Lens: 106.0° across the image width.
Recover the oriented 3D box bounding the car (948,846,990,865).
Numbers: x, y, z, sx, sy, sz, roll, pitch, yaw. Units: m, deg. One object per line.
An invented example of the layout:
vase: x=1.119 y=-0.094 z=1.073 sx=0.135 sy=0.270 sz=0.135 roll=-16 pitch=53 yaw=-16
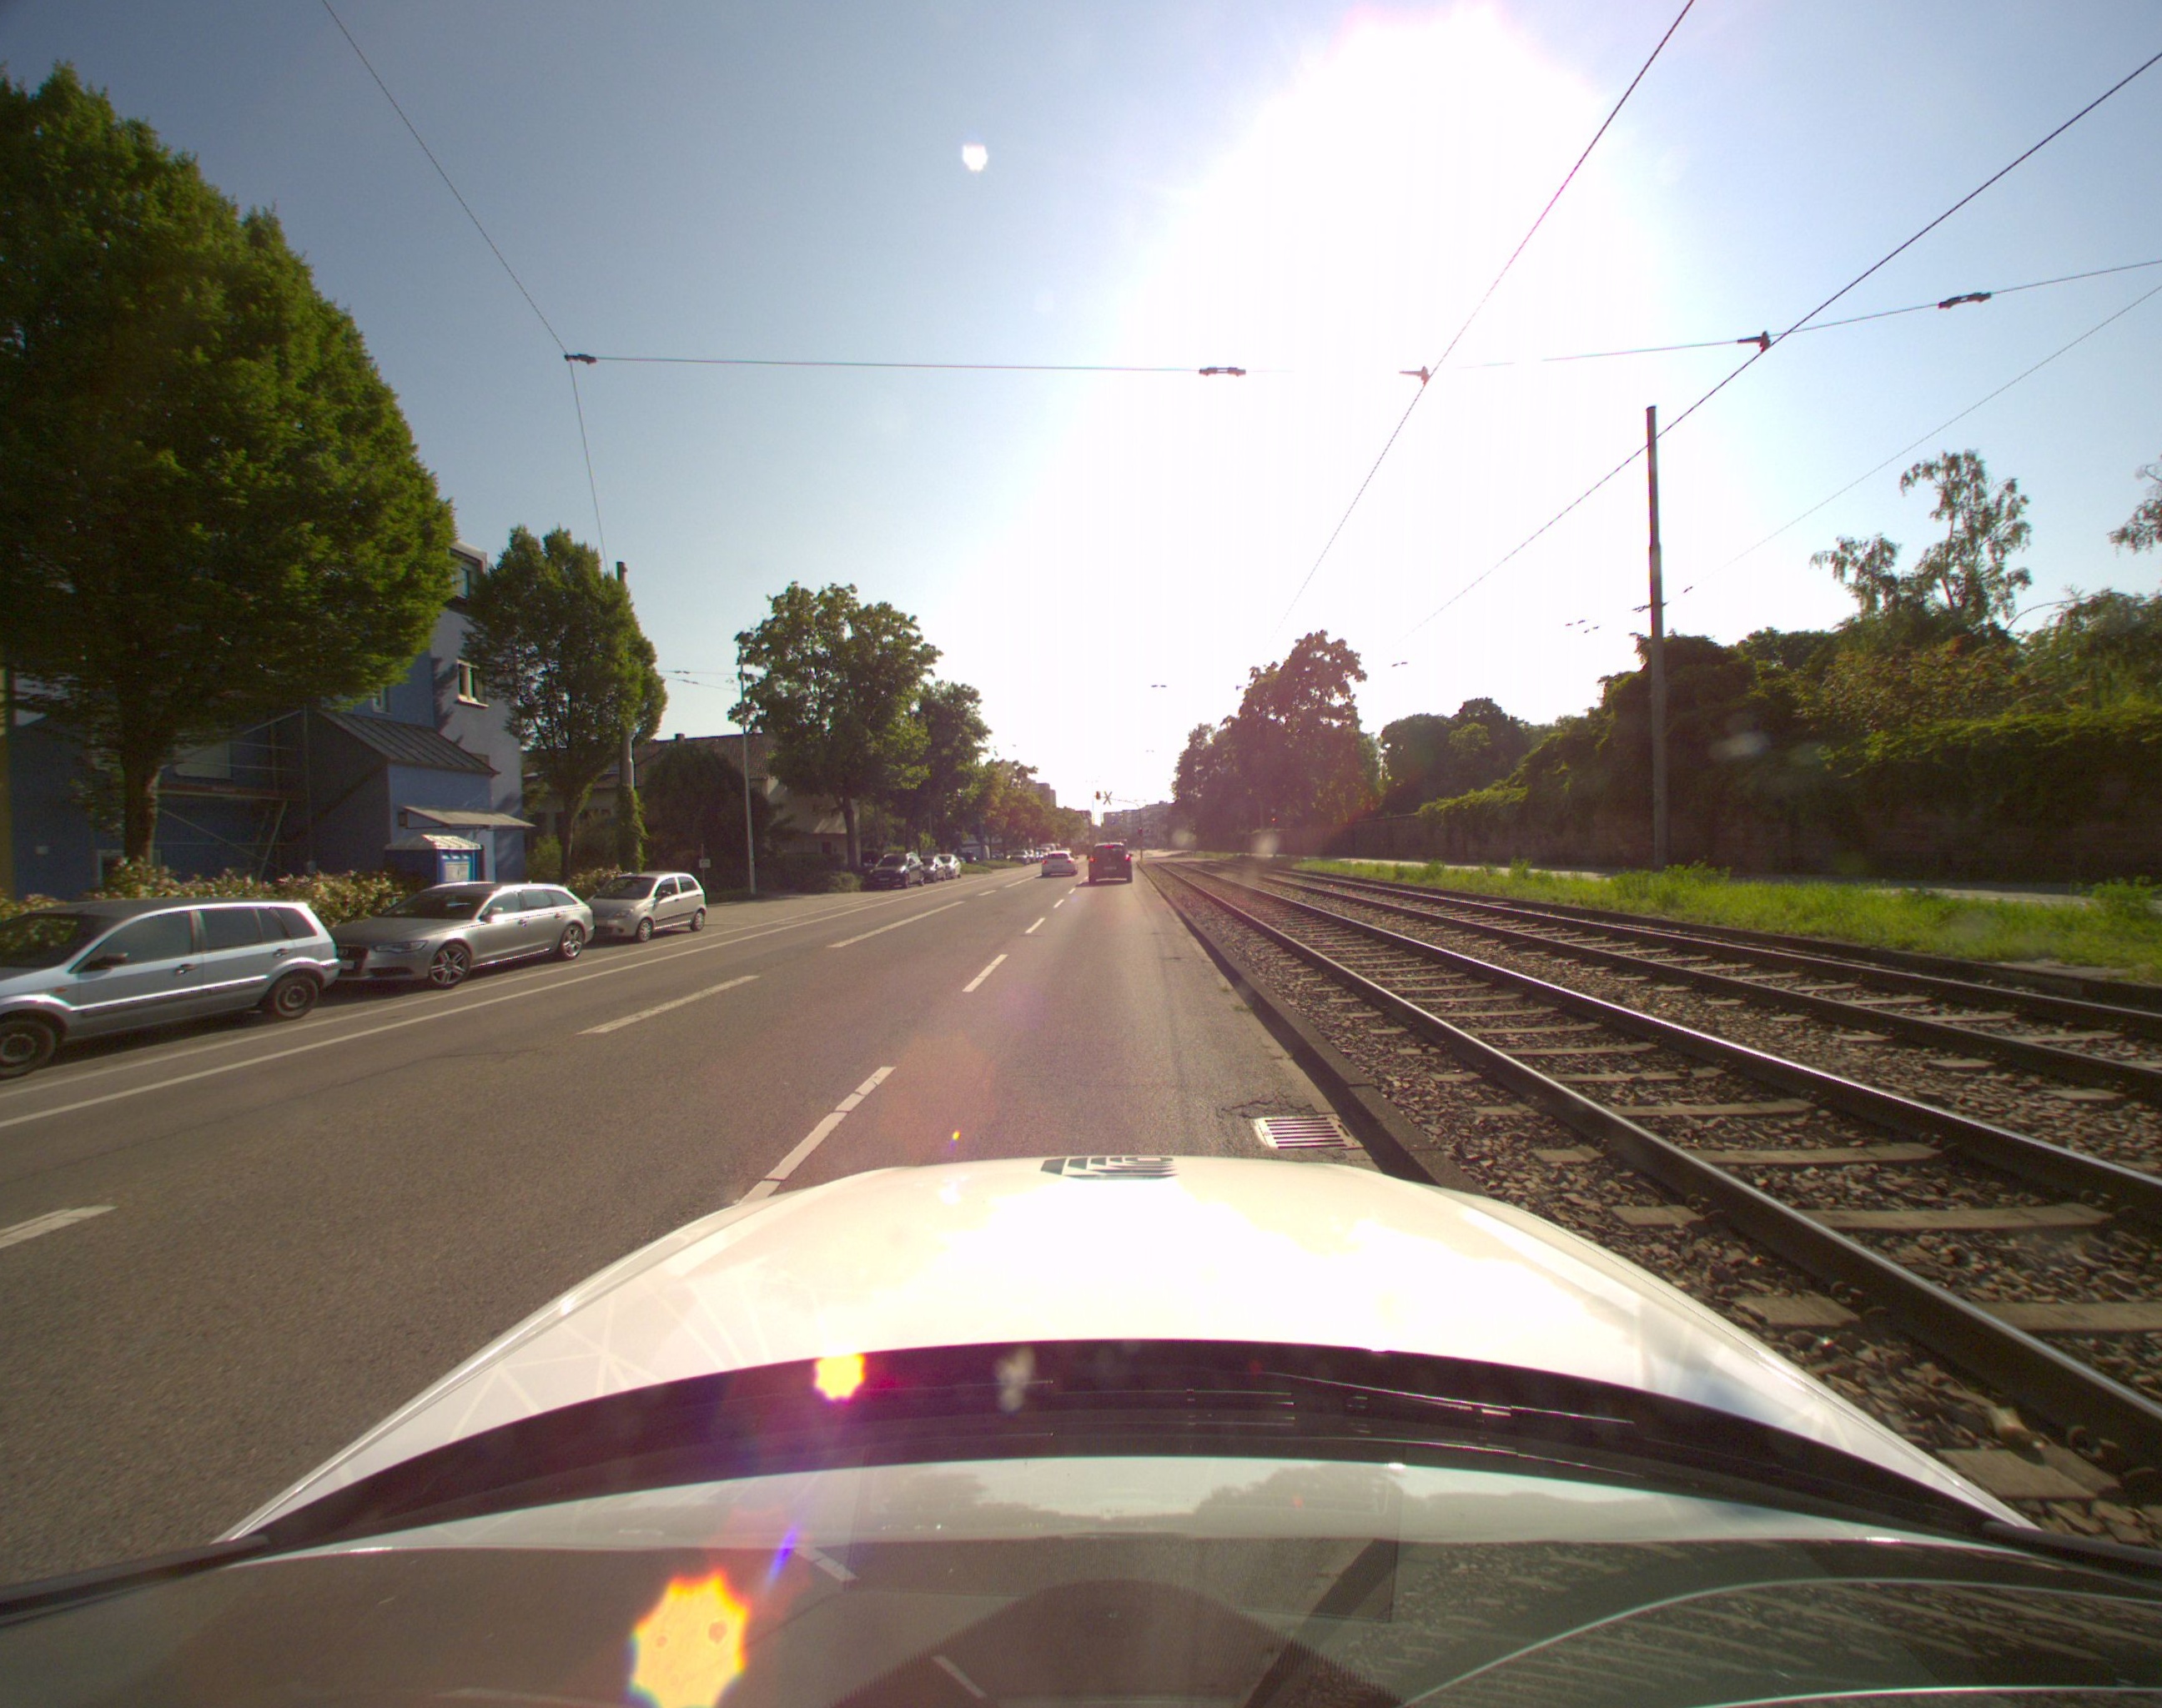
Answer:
car: x=-15.449 y=0.205 z=112.756 sx=5.353 sy=2.423 sz=2.089 roll=-3 pitch=0 yaw=3

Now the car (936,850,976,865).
car: x=-16.055 y=0.430 z=104.753 sx=4.602 sy=1.651 sz=2.050 roll=-3 pitch=0 yaw=1

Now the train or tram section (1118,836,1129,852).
train or tram section: x=9.648 y=-2.235 z=185.655 sx=2.317 sy=3.570 sz=8.908 roll=-3 pitch=0 yaw=3

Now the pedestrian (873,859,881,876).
pedestrian: x=-13.992 y=0.939 z=55.848 sx=0.344 sy=1.162 sz=0.448 roll=-3 pitch=0 yaw=11

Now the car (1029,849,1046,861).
car: x=-5.696 y=0.100 z=107.158 sx=1.724 sy=1.450 sz=3.740 roll=-3 pitch=1 yaw=5

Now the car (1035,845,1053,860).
car: x=-5.097 y=-0.242 z=112.457 sx=1.724 sy=1.860 sz=4.495 roll=-3 pitch=0 yaw=5

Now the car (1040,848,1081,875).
car: x=-1.094 y=0.394 z=45.233 sx=1.857 sy=1.348 sz=4.004 roll=-2 pitch=1 yaw=3

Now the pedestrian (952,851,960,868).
pedestrian: x=-11.964 y=0.520 z=77.911 sx=0.522 sy=1.628 sz=0.610 roll=-3 pitch=0 yaw=3

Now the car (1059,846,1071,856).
car: x=-2.900 y=-0.493 z=148.961 sx=1.724 sy=1.694 sz=4.006 roll=-3 pitch=1 yaw=5

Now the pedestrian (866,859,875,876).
pedestrian: x=-15.256 y=0.981 z=58.921 sx=0.442 sy=1.217 sz=0.392 roll=-3 pitch=0 yaw=11

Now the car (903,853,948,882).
car: x=-8.813 y=0.734 z=46.390 sx=1.671 sy=1.468 sz=3.969 roll=-2 pitch=0 yaw=1

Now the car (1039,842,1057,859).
car: x=-4.803 y=-0.580 z=119.130 sx=1.855 sy=2.347 sz=4.991 roll=-3 pitch=0 yaw=5

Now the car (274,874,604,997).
car: x=-10.373 y=1.203 z=13.772 sx=1.743 sy=1.510 sz=4.756 roll=2 pitch=1 yaw=0

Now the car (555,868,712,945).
car: x=-10.333 y=1.151 z=19.112 sx=1.595 sy=1.494 sz=3.511 roll=2 pitch=1 yaw=2

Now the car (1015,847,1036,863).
car: x=-6.449 y=0.113 z=94.975 sx=1.724 sy=1.694 sz=4.006 roll=-3 pitch=1 yaw=5

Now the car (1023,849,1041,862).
car: x=-6.053 y=0.183 z=101.279 sx=1.724 sy=1.389 sz=3.740 roll=-3 pitch=1 yaw=5

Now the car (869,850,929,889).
car: x=-9.020 y=0.724 z=40.685 sx=1.705 sy=1.694 sz=4.427 roll=-2 pitch=1 yaw=3

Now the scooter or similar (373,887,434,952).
scooter or similar: x=-13.264 y=1.263 z=15.974 sx=0.293 sy=1.153 sz=1.042 roll=-3 pitch=0 yaw=-1

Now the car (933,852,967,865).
car: x=-16.467 y=0.591 z=102.379 sx=3.974 sy=1.397 sz=1.737 roll=-3 pitch=0 yaw=-1

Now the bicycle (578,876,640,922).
bicycle: x=-13.214 y=1.243 z=22.859 sx=0.440 sy=1.154 sz=1.789 roll=-3 pitch=0 yaw=10

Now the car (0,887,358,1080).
car: x=-10.661 y=1.257 z=8.911 sx=1.755 sy=1.539 sz=3.985 roll=2 pitch=1 yaw=3

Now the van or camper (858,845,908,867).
van or camper: x=-28.665 y=0.329 z=118.054 sx=6.436 sy=2.868 sz=2.310 roll=-2 pitch=0 yaw=3

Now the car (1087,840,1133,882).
car: x=1.282 y=0.259 z=34.567 sx=1.804 sy=1.644 sz=4.004 roll=-2 pitch=0 yaw=3

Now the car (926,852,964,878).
car: x=-8.648 y=0.658 z=52.002 sx=1.594 sy=1.550 sz=3.897 roll=-1 pitch=1 yaw=2

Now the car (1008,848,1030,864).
car: x=-6.760 y=0.221 z=89.459 sx=1.724 sy=1.657 sz=4.005 roll=-3 pitch=0 yaw=5
